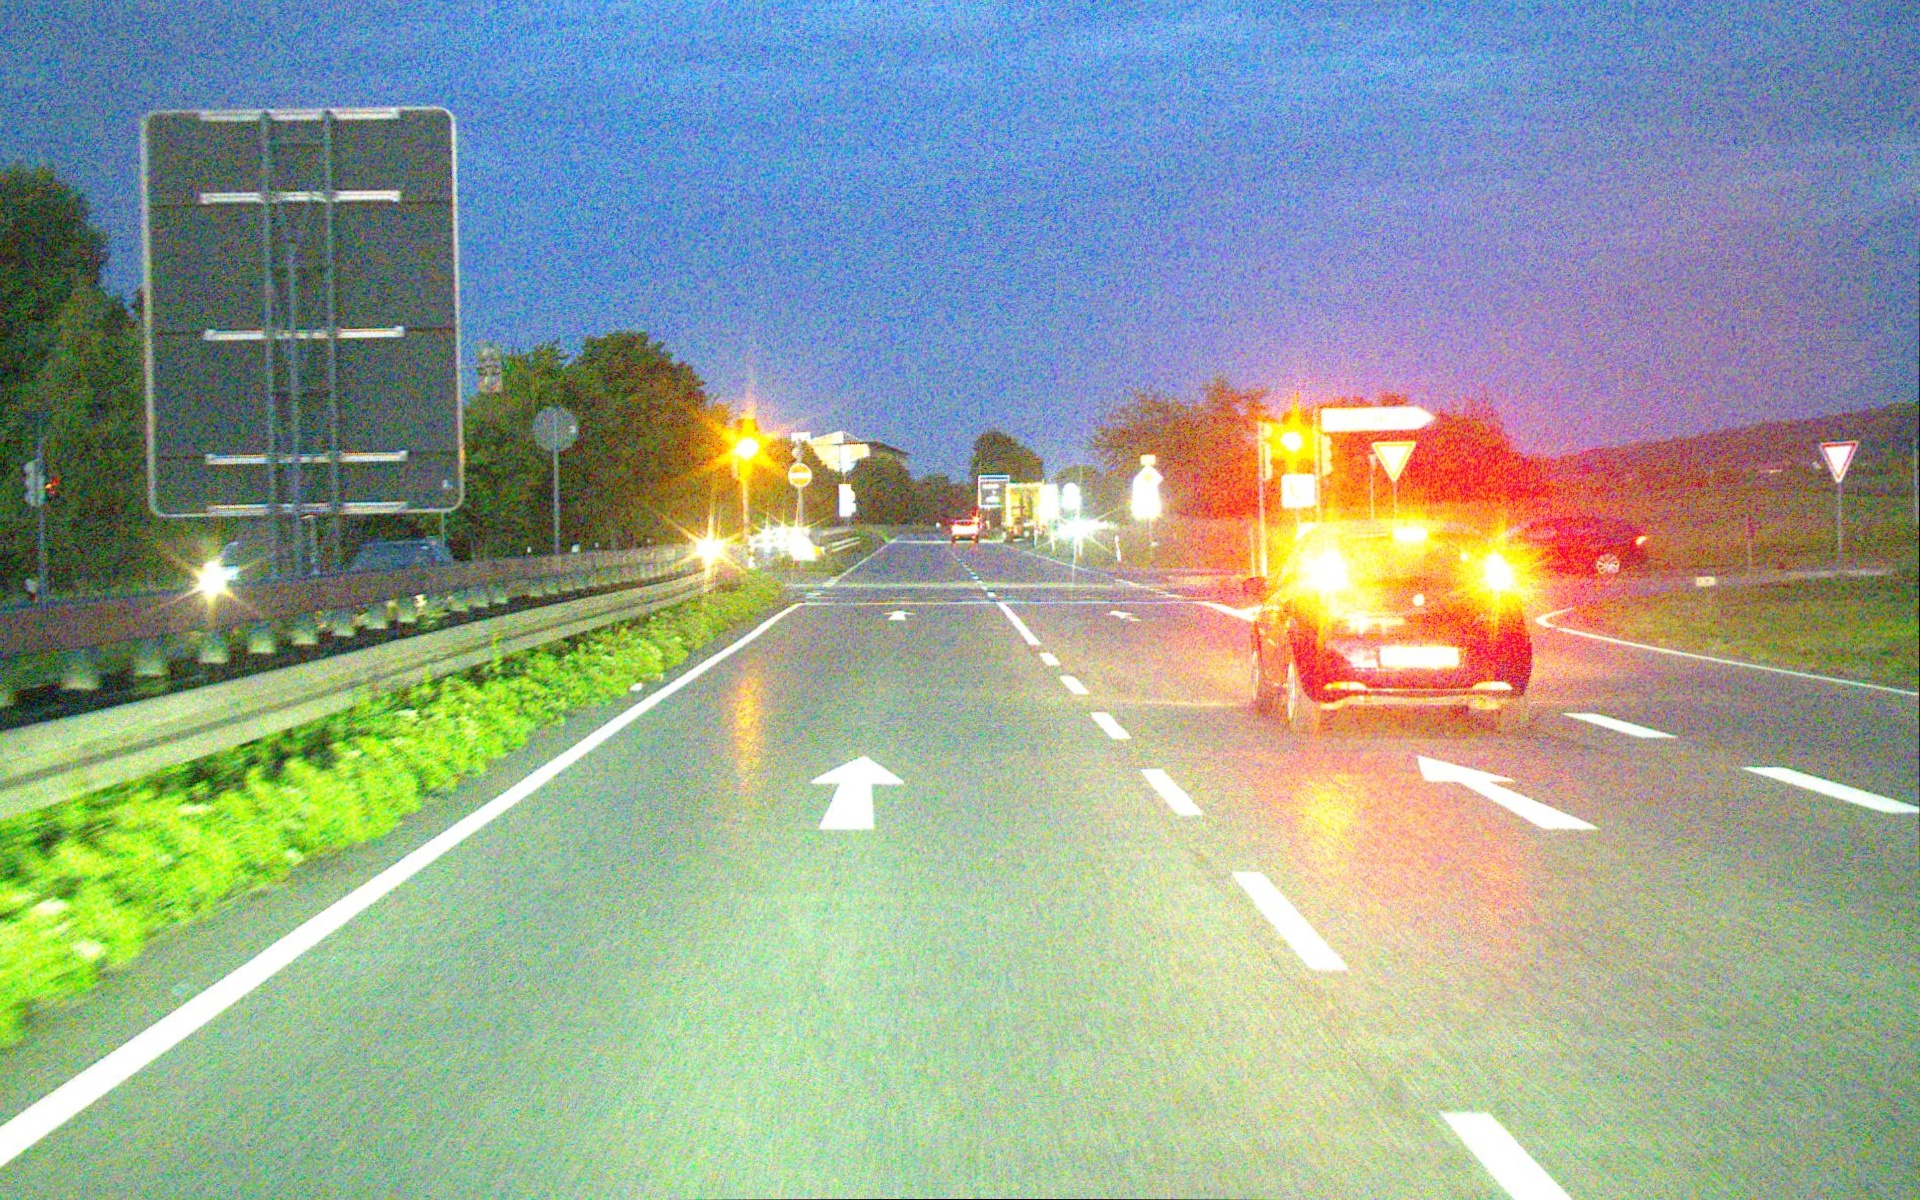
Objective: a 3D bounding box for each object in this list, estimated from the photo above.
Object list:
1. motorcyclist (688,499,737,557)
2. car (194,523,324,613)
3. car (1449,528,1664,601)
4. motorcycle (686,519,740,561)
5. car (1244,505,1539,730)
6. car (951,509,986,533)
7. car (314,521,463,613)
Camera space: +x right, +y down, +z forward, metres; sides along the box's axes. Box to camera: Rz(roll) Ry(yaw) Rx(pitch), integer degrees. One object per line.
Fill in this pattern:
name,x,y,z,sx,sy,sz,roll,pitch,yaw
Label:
motorcyclist,-6.914,-2.014,95.897,1.137,1.579,0.972,-1,2,8
car,-13.647,-0.658,67.167,1.794,1.665,4.502,-1,1,-3
car,13.806,-0.839,79.743,4.600,1.515,2.000,-2,1,0
motorcycle,-6.884,-1.686,95.964,0.979,1.095,2.508,-1,2,7
car,3.074,0.067,25.197,1.670,1.515,4.106,0,1,0
car,0.565,-5.403,234.502,2.273,1.626,4.001,-1,1,-2
car,-9.626,-0.591,58.187,1.920,1.427,4.502,-2,2,-3
